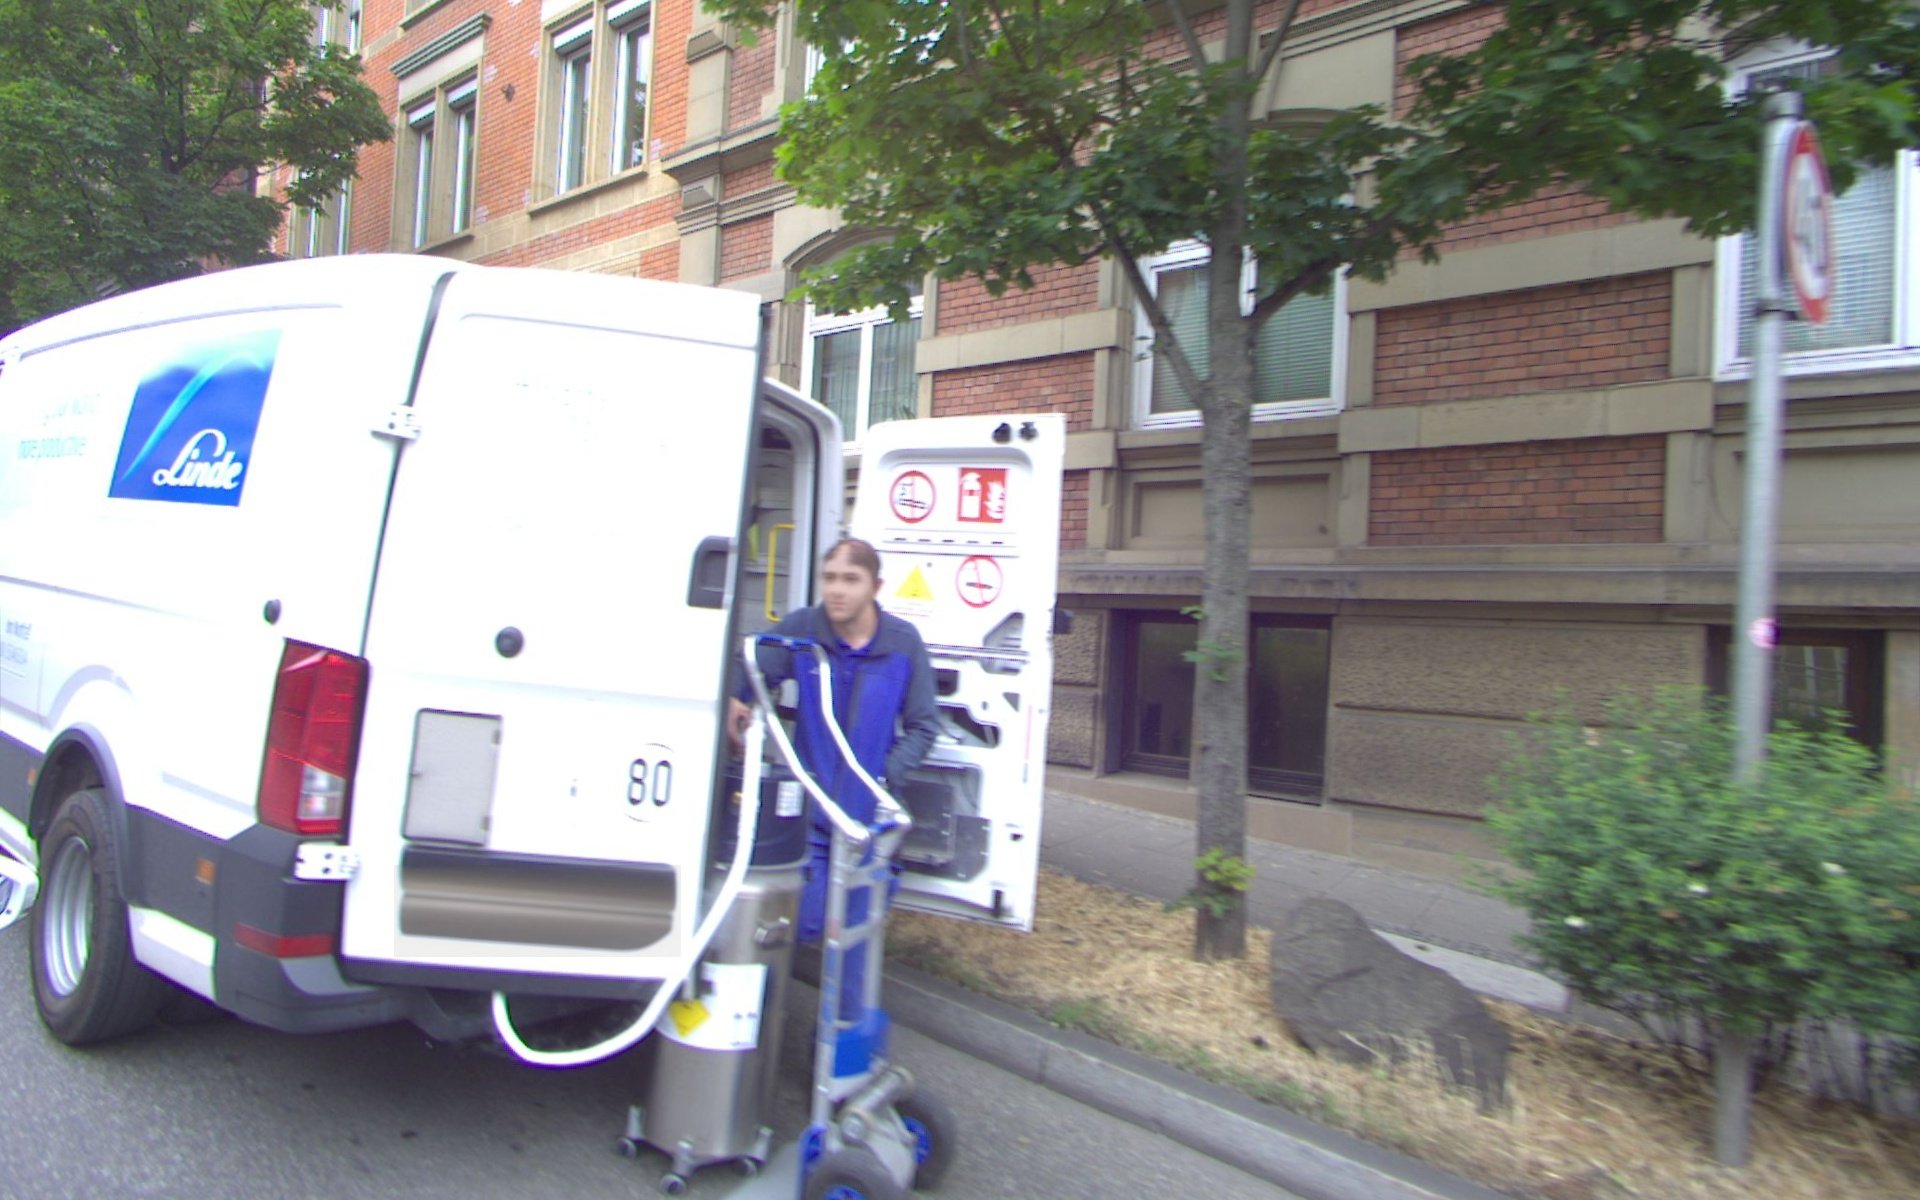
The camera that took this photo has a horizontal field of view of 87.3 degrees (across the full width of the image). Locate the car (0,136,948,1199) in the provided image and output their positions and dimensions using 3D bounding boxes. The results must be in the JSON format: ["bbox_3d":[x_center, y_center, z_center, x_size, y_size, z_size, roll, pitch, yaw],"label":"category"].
[{"bbox_3d":[-3.202,0.006,4.744,5.874,2.315,2.259,7,-1,35],"label":"car"}]

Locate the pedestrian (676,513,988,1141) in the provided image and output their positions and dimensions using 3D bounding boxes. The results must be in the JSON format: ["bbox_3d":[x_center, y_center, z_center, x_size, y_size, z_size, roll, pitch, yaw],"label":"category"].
[{"bbox_3d":[-0.390,0.645,3.178,0.511,1.728,0.596,7,0,35],"label":"pedestrian"}]

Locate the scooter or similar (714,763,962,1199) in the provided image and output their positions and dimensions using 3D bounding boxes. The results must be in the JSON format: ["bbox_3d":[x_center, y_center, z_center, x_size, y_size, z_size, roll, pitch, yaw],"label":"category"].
[{"bbox_3d":[-0.306,0.978,2.616,0.296,1.045,0.452,7,0,35],"label":"scooter or similar"}]
